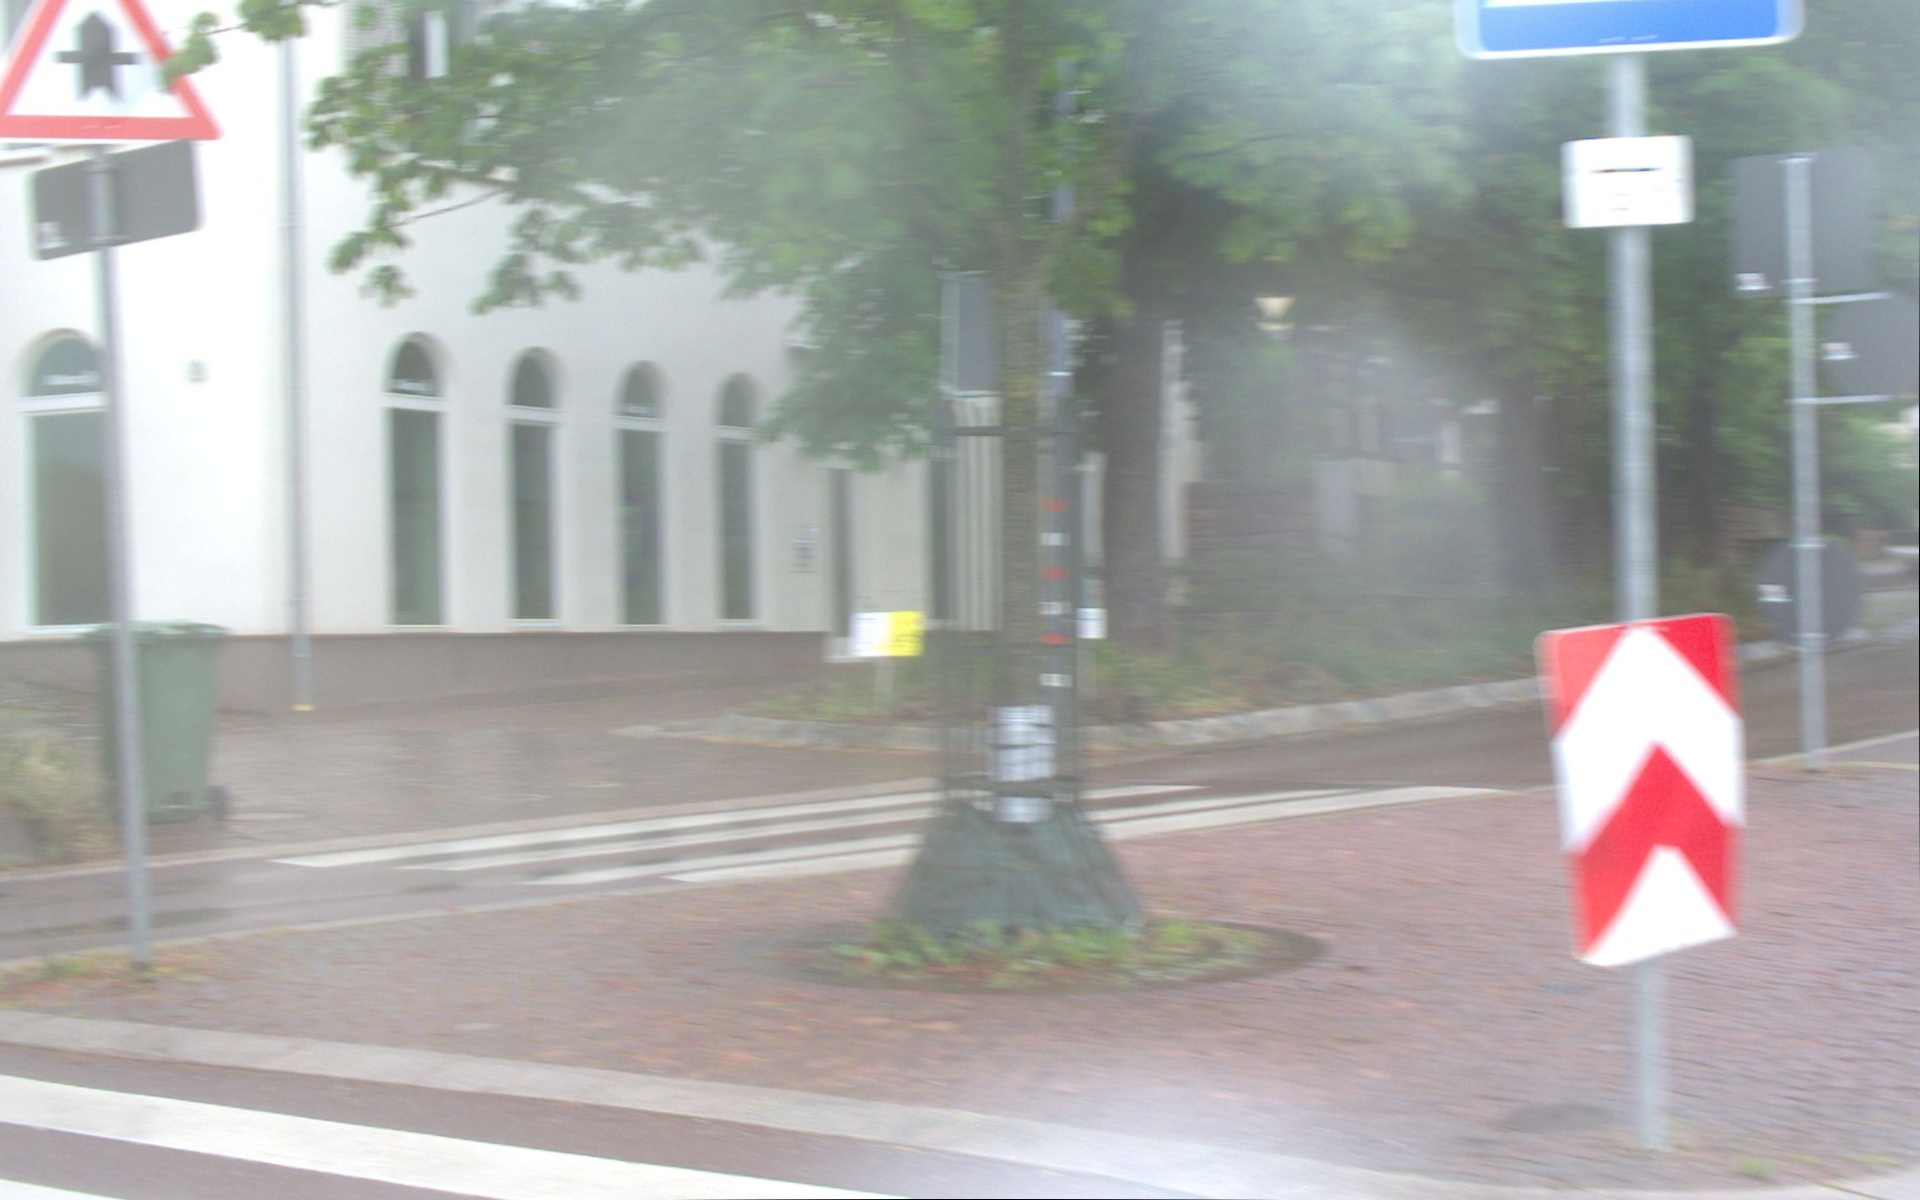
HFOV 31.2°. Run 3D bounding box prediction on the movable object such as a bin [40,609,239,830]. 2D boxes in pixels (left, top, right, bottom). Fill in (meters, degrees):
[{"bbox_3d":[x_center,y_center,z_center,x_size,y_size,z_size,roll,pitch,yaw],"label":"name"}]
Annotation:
[{"bbox_3d":[-4.311,0.625,18.078,0.738,1.120,0.649,-2,0,32],"label":"movable object such as a bin"}]
